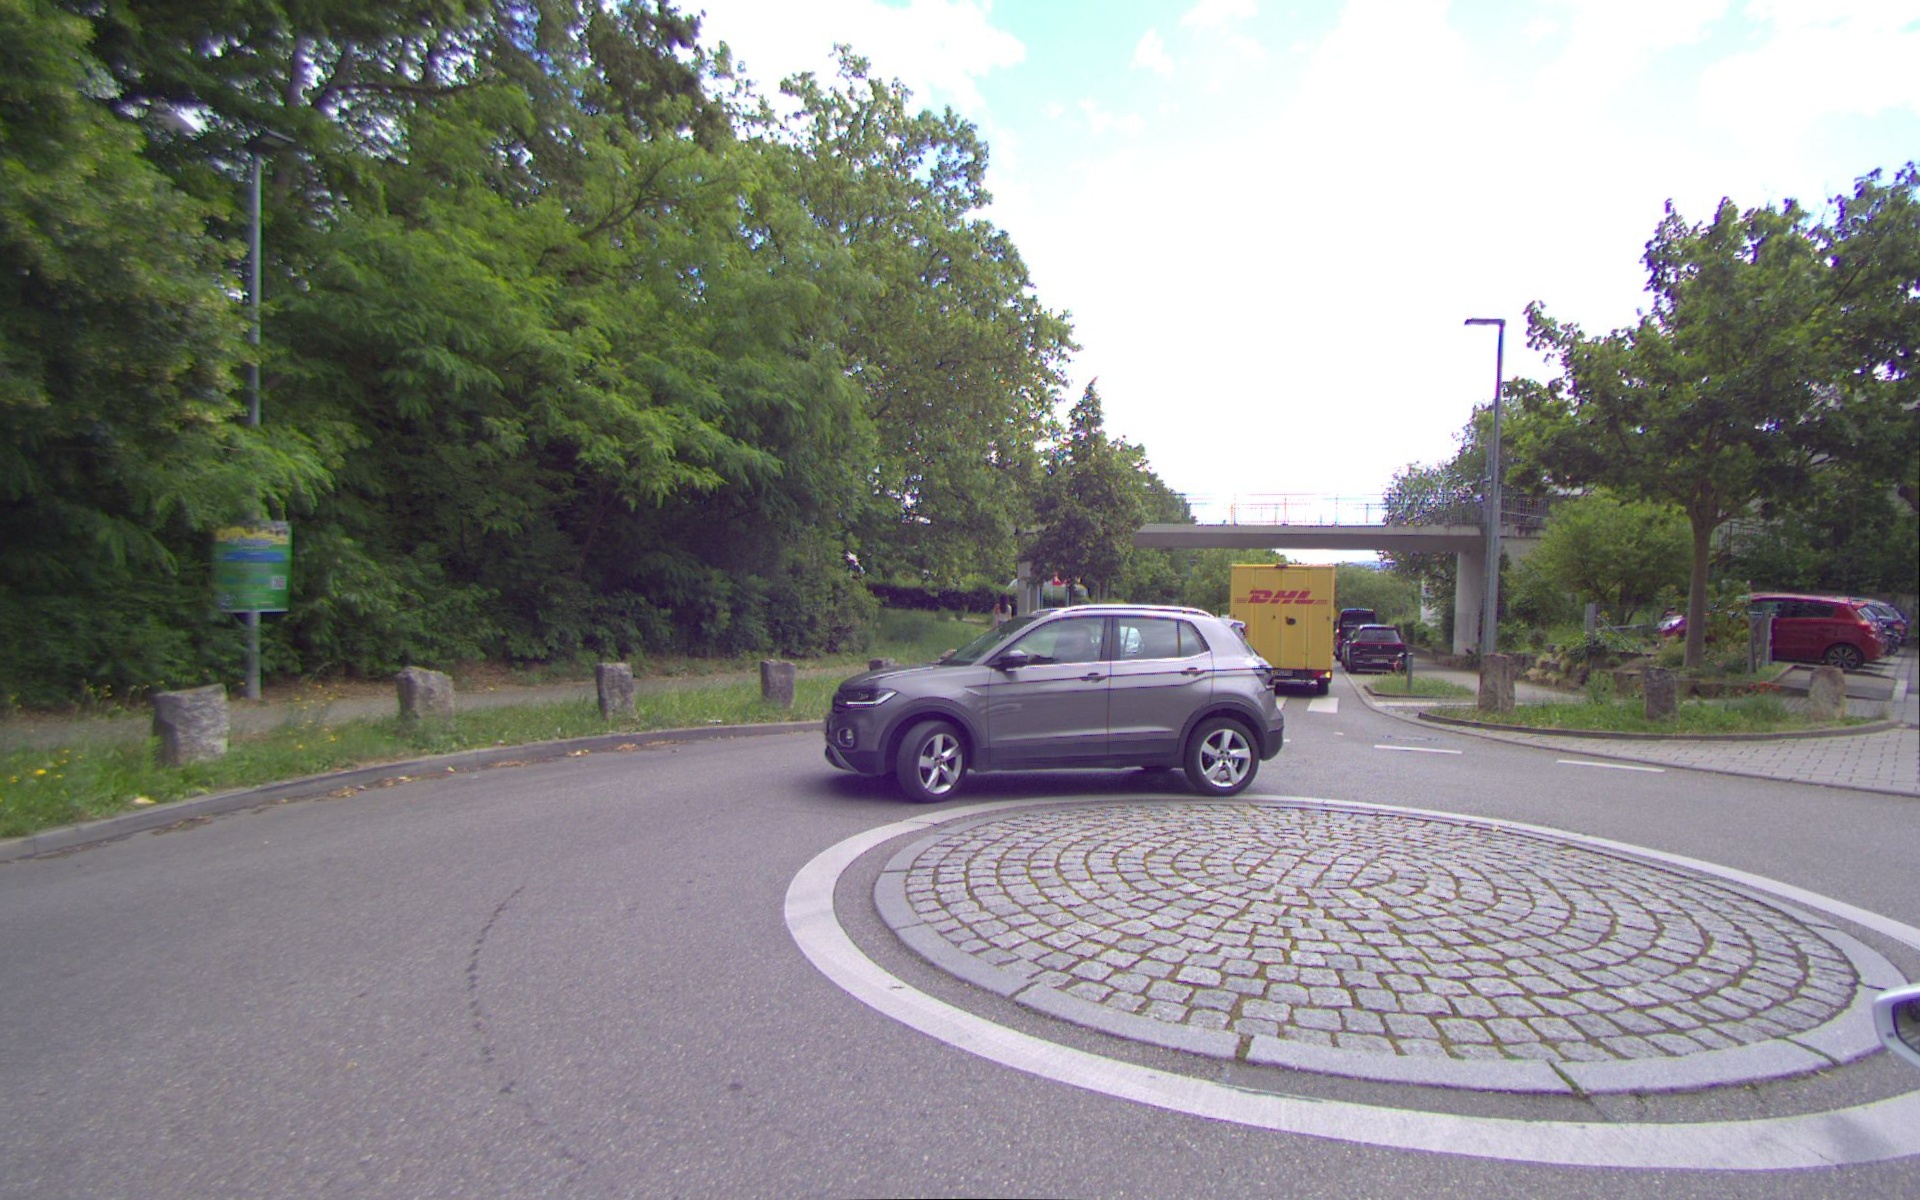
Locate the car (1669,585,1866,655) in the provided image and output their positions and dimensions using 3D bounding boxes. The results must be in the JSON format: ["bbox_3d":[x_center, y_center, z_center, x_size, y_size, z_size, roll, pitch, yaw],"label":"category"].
[{"bbox_3d":[21.485,0.504,26.874,3.939,1.635,1.935,3,1,40],"label":"car"}]

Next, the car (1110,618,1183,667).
[{"bbox_3d":[6.514,1.430,34.862,1.853,1.479,3.546,3,1,20],"label":"car"}]

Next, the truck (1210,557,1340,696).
[{"bbox_3d":[7.549,0.609,23.691,2.425,2.738,6.825,2,-1,20],"label":"truck"}]

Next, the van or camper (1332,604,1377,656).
[{"bbox_3d":[20.284,1.574,51.803,1.961,2.556,5.472,0,-2,19],"label":"van or camper"}]

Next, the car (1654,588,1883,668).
[{"bbox_3d":[16.978,0.544,21.207,3.609,1.458,1.675,3,1,43],"label":"car"}]

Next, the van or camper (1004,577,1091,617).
[{"bbox_3d":[5.198,-0.175,59.594,4.772,2.114,2.001,2,1,15],"label":"van or camper"}]

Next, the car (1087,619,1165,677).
[{"bbox_3d":[5.097,1.393,30.373,1.756,1.487,4.001,2,0,17],"label":"car"}]

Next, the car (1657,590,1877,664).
[{"bbox_3d":[18.220,0.573,22.797,3.745,1.441,1.675,3,1,43],"label":"car"}]

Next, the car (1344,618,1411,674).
[{"bbox_3d":[14.359,1.638,34.748,1.783,1.699,4.373,1,-4,18],"label":"car"}]

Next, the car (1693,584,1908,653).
[{"bbox_3d":[23.669,0.494,28.497,4.489,1.690,1.935,3,1,40],"label":"car"}]

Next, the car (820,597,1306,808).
[{"bbox_3d":[0.793,0.856,8.885,3.934,1.639,1.721,1,-1,-7],"label":"car"}]

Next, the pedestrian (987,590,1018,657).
[{"bbox_3d":[1.137,0.615,26.781,0.725,1.745,0.660,2,1,0],"label":"pedestrian"}]

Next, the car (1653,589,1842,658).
[{"bbox_3d":[19.837,0.559,25.382,3.609,1.518,1.675,3,1,43],"label":"car"}]
